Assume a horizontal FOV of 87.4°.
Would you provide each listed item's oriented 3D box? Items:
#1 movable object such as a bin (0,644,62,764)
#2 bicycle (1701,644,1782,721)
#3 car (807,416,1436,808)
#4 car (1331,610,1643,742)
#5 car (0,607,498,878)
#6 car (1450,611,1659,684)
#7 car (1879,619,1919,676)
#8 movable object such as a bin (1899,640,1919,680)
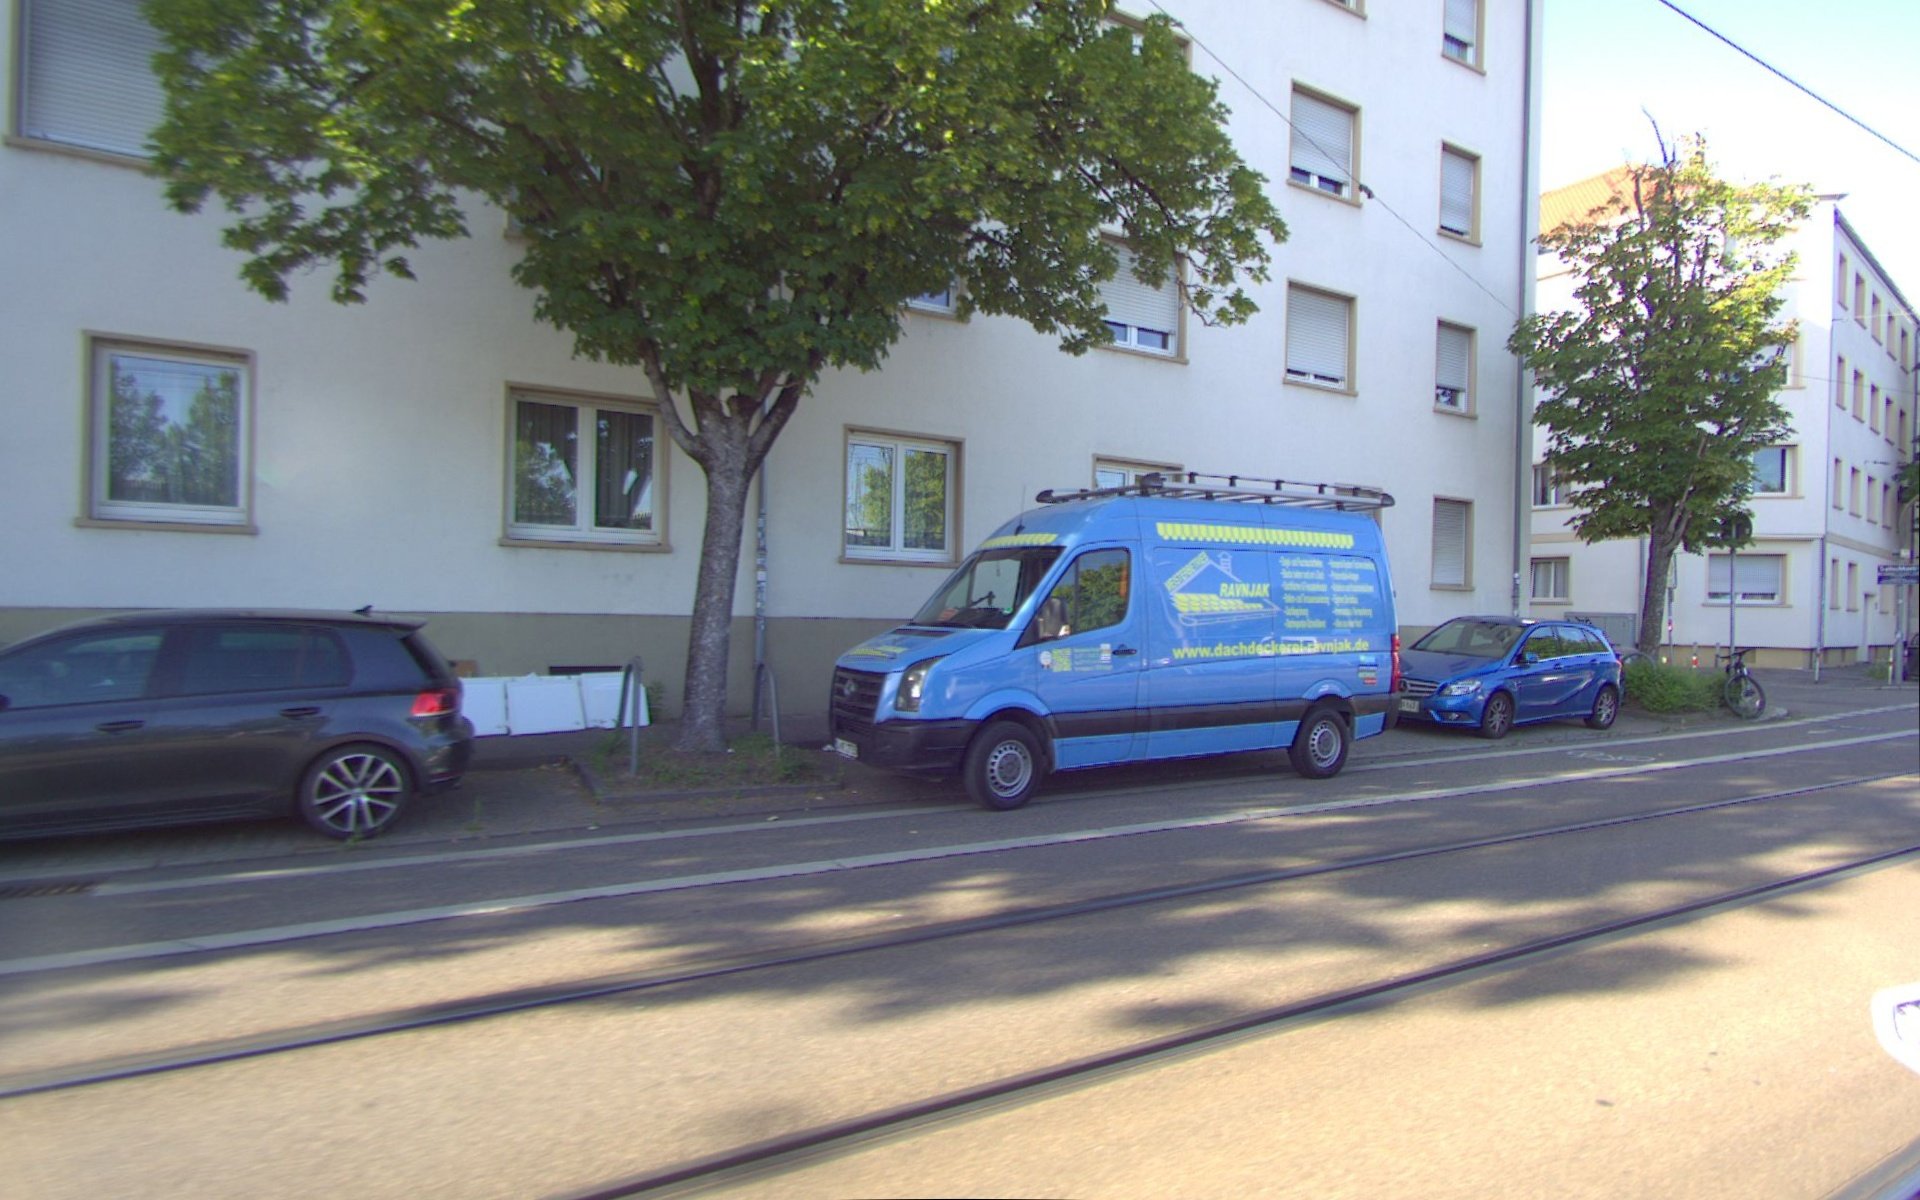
[{"bbox_3d":[-7.873,0.844,8.297,0.562,0.947,0.593,1,-1,-32],"label":"movable object such as a bin"},{"bbox_3d":[12.783,1.315,16.407,2.012,1.149,0.508,1,1,-37],"label":"bicycle"},{"bbox_3d":[1.722,0.144,9.654,5.958,2.863,2.008,1,0,-29],"label":"car"},{"bbox_3d":[7.589,1.000,14.356,4.588,1.581,1.782,2,0,-30],"label":"car"},{"bbox_3d":[-5.313,0.805,6.444,4.139,1.444,1.644,2,0,-30],"label":"car"},{"bbox_3d":[13.958,1.064,23.778,1.749,1.477,3.863,1,0,-33],"label":"car"},{"bbox_3d":[27.972,1.364,28.773,3.962,1.550,1.676,1,0,-36],"label":"car"},{"bbox_3d":[24.896,1.564,26.175,0.654,1.001,0.481,1,1,-37],"label":"movable object such as a bin"}]
